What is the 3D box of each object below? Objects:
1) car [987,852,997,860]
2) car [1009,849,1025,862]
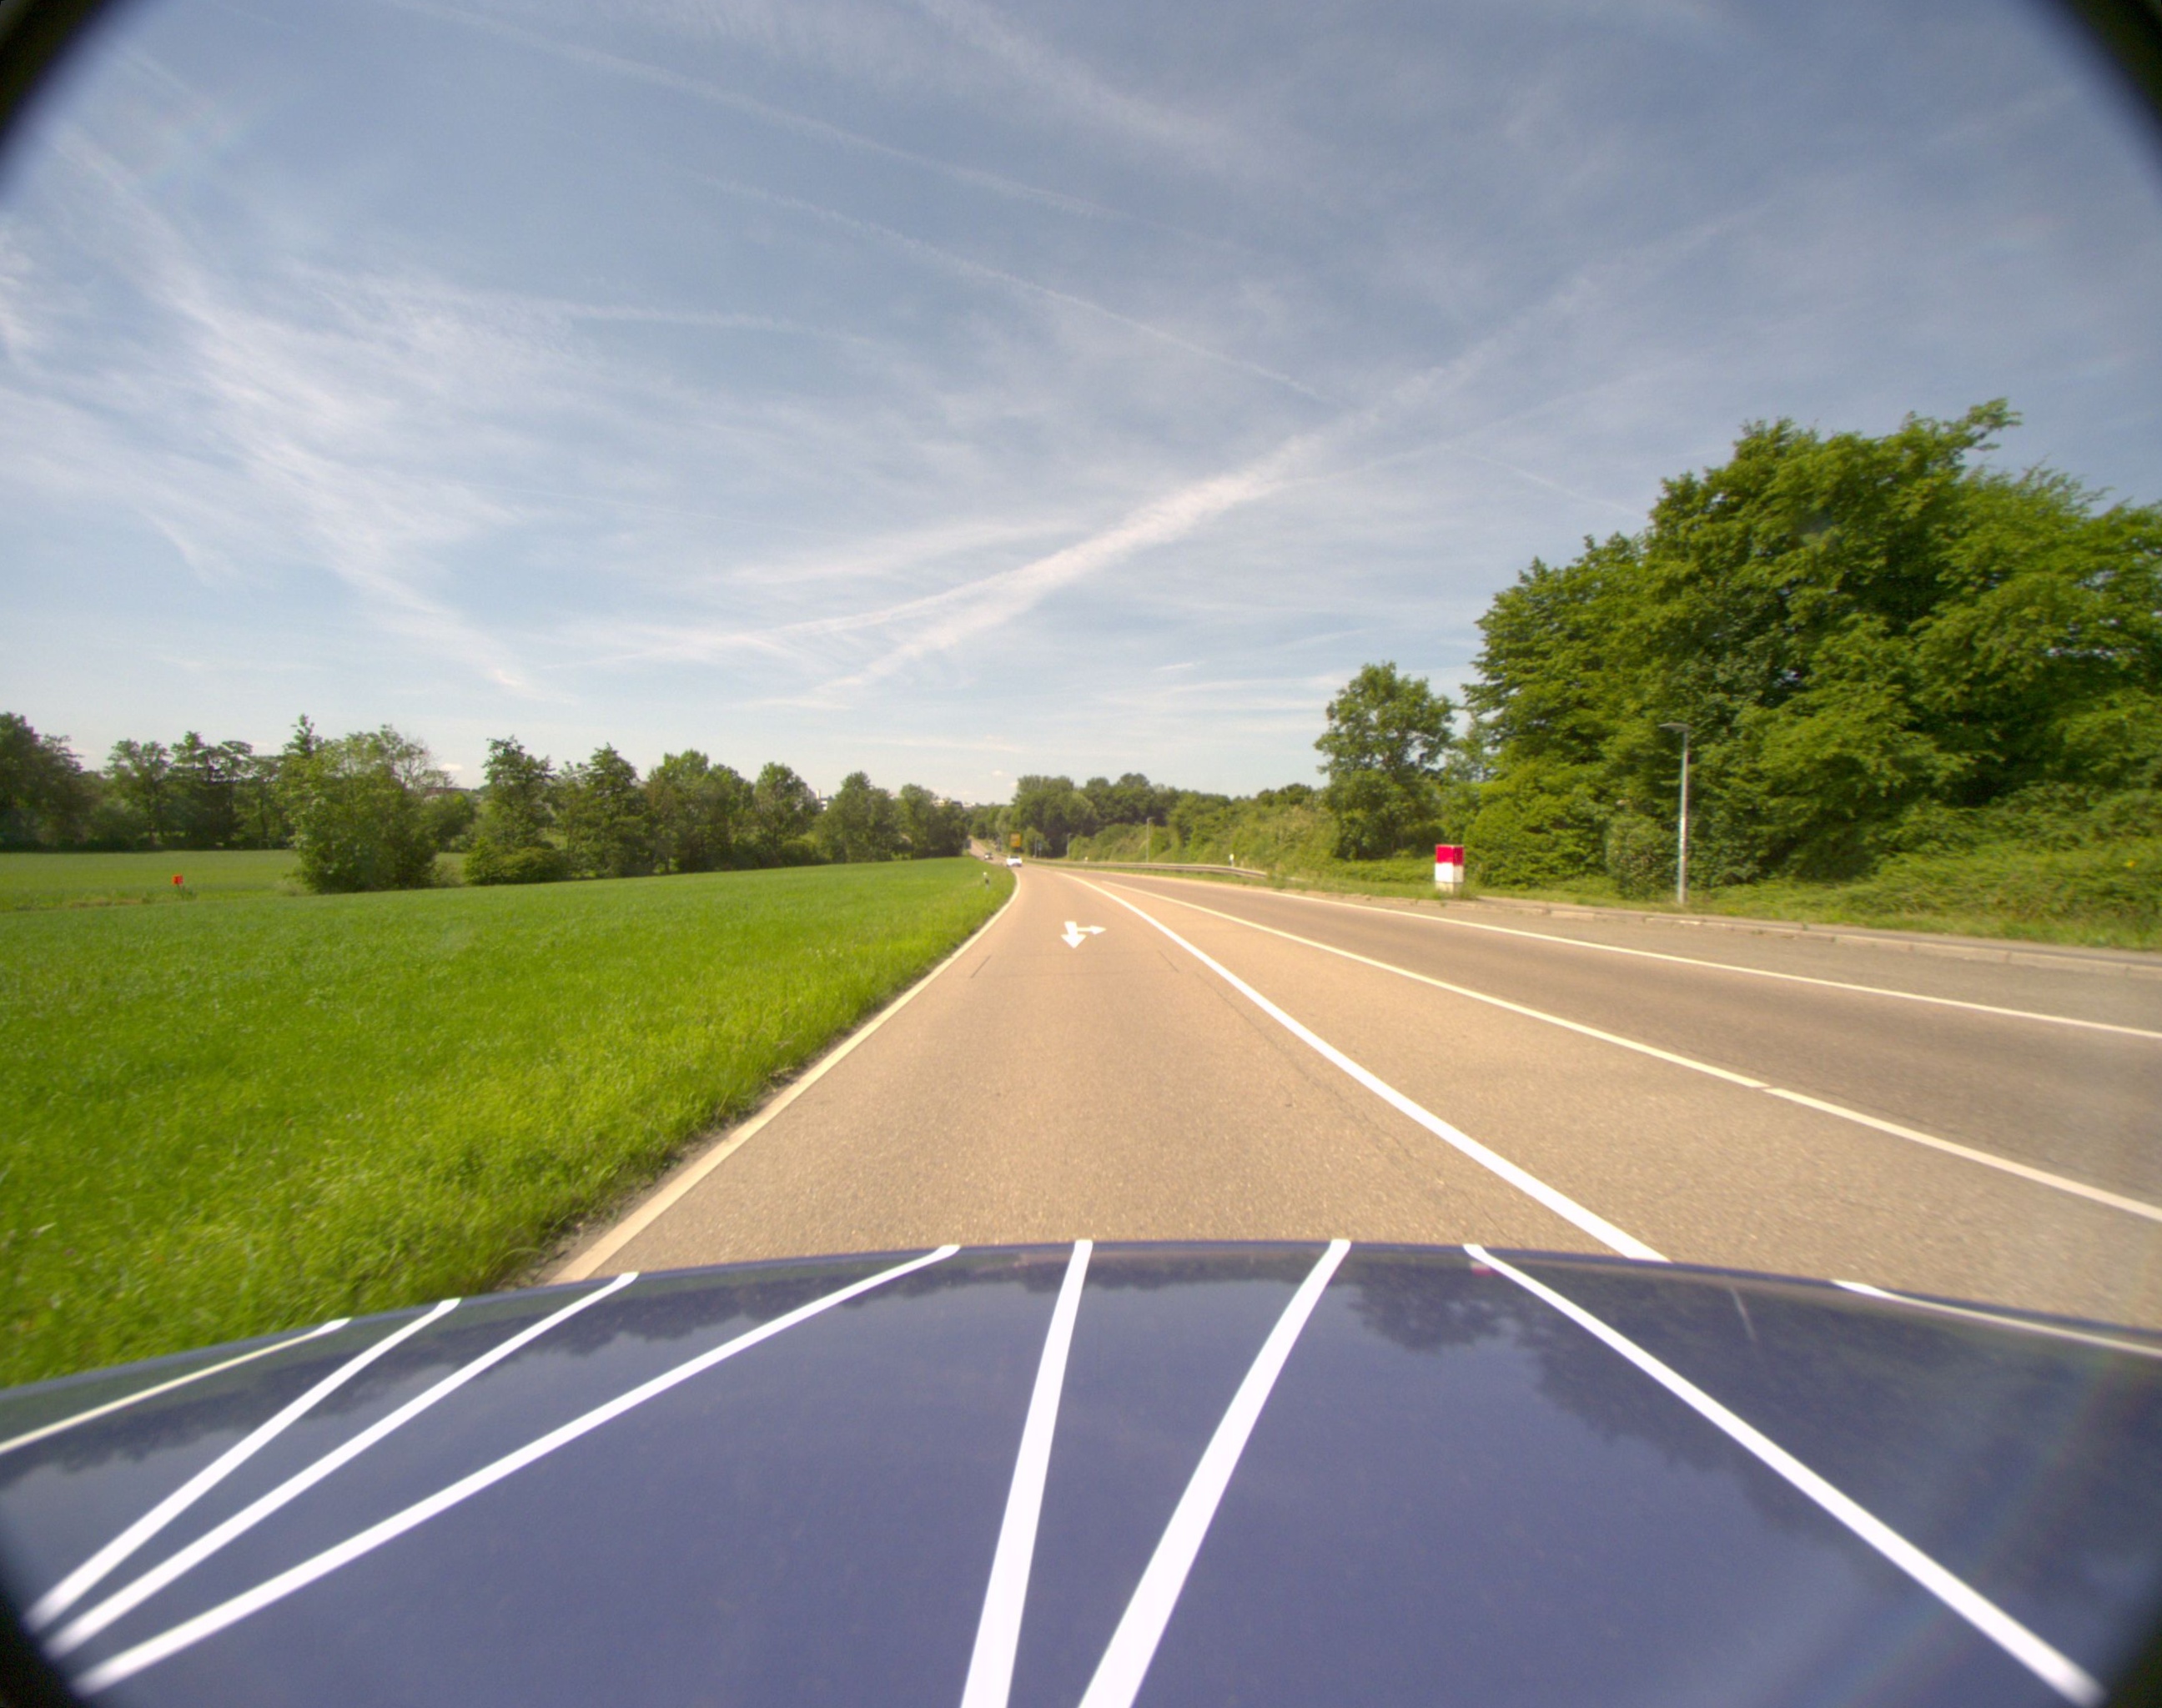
[{"bbox_3d":[-19.255,0.456,164.350,2.000,1.576,3.997,-1,0,-8],"label":"car"},{"bbox_3d":[-8.340,0.232,99.142,1.999,1.576,3.998,-1,0,-6],"label":"car"}]
